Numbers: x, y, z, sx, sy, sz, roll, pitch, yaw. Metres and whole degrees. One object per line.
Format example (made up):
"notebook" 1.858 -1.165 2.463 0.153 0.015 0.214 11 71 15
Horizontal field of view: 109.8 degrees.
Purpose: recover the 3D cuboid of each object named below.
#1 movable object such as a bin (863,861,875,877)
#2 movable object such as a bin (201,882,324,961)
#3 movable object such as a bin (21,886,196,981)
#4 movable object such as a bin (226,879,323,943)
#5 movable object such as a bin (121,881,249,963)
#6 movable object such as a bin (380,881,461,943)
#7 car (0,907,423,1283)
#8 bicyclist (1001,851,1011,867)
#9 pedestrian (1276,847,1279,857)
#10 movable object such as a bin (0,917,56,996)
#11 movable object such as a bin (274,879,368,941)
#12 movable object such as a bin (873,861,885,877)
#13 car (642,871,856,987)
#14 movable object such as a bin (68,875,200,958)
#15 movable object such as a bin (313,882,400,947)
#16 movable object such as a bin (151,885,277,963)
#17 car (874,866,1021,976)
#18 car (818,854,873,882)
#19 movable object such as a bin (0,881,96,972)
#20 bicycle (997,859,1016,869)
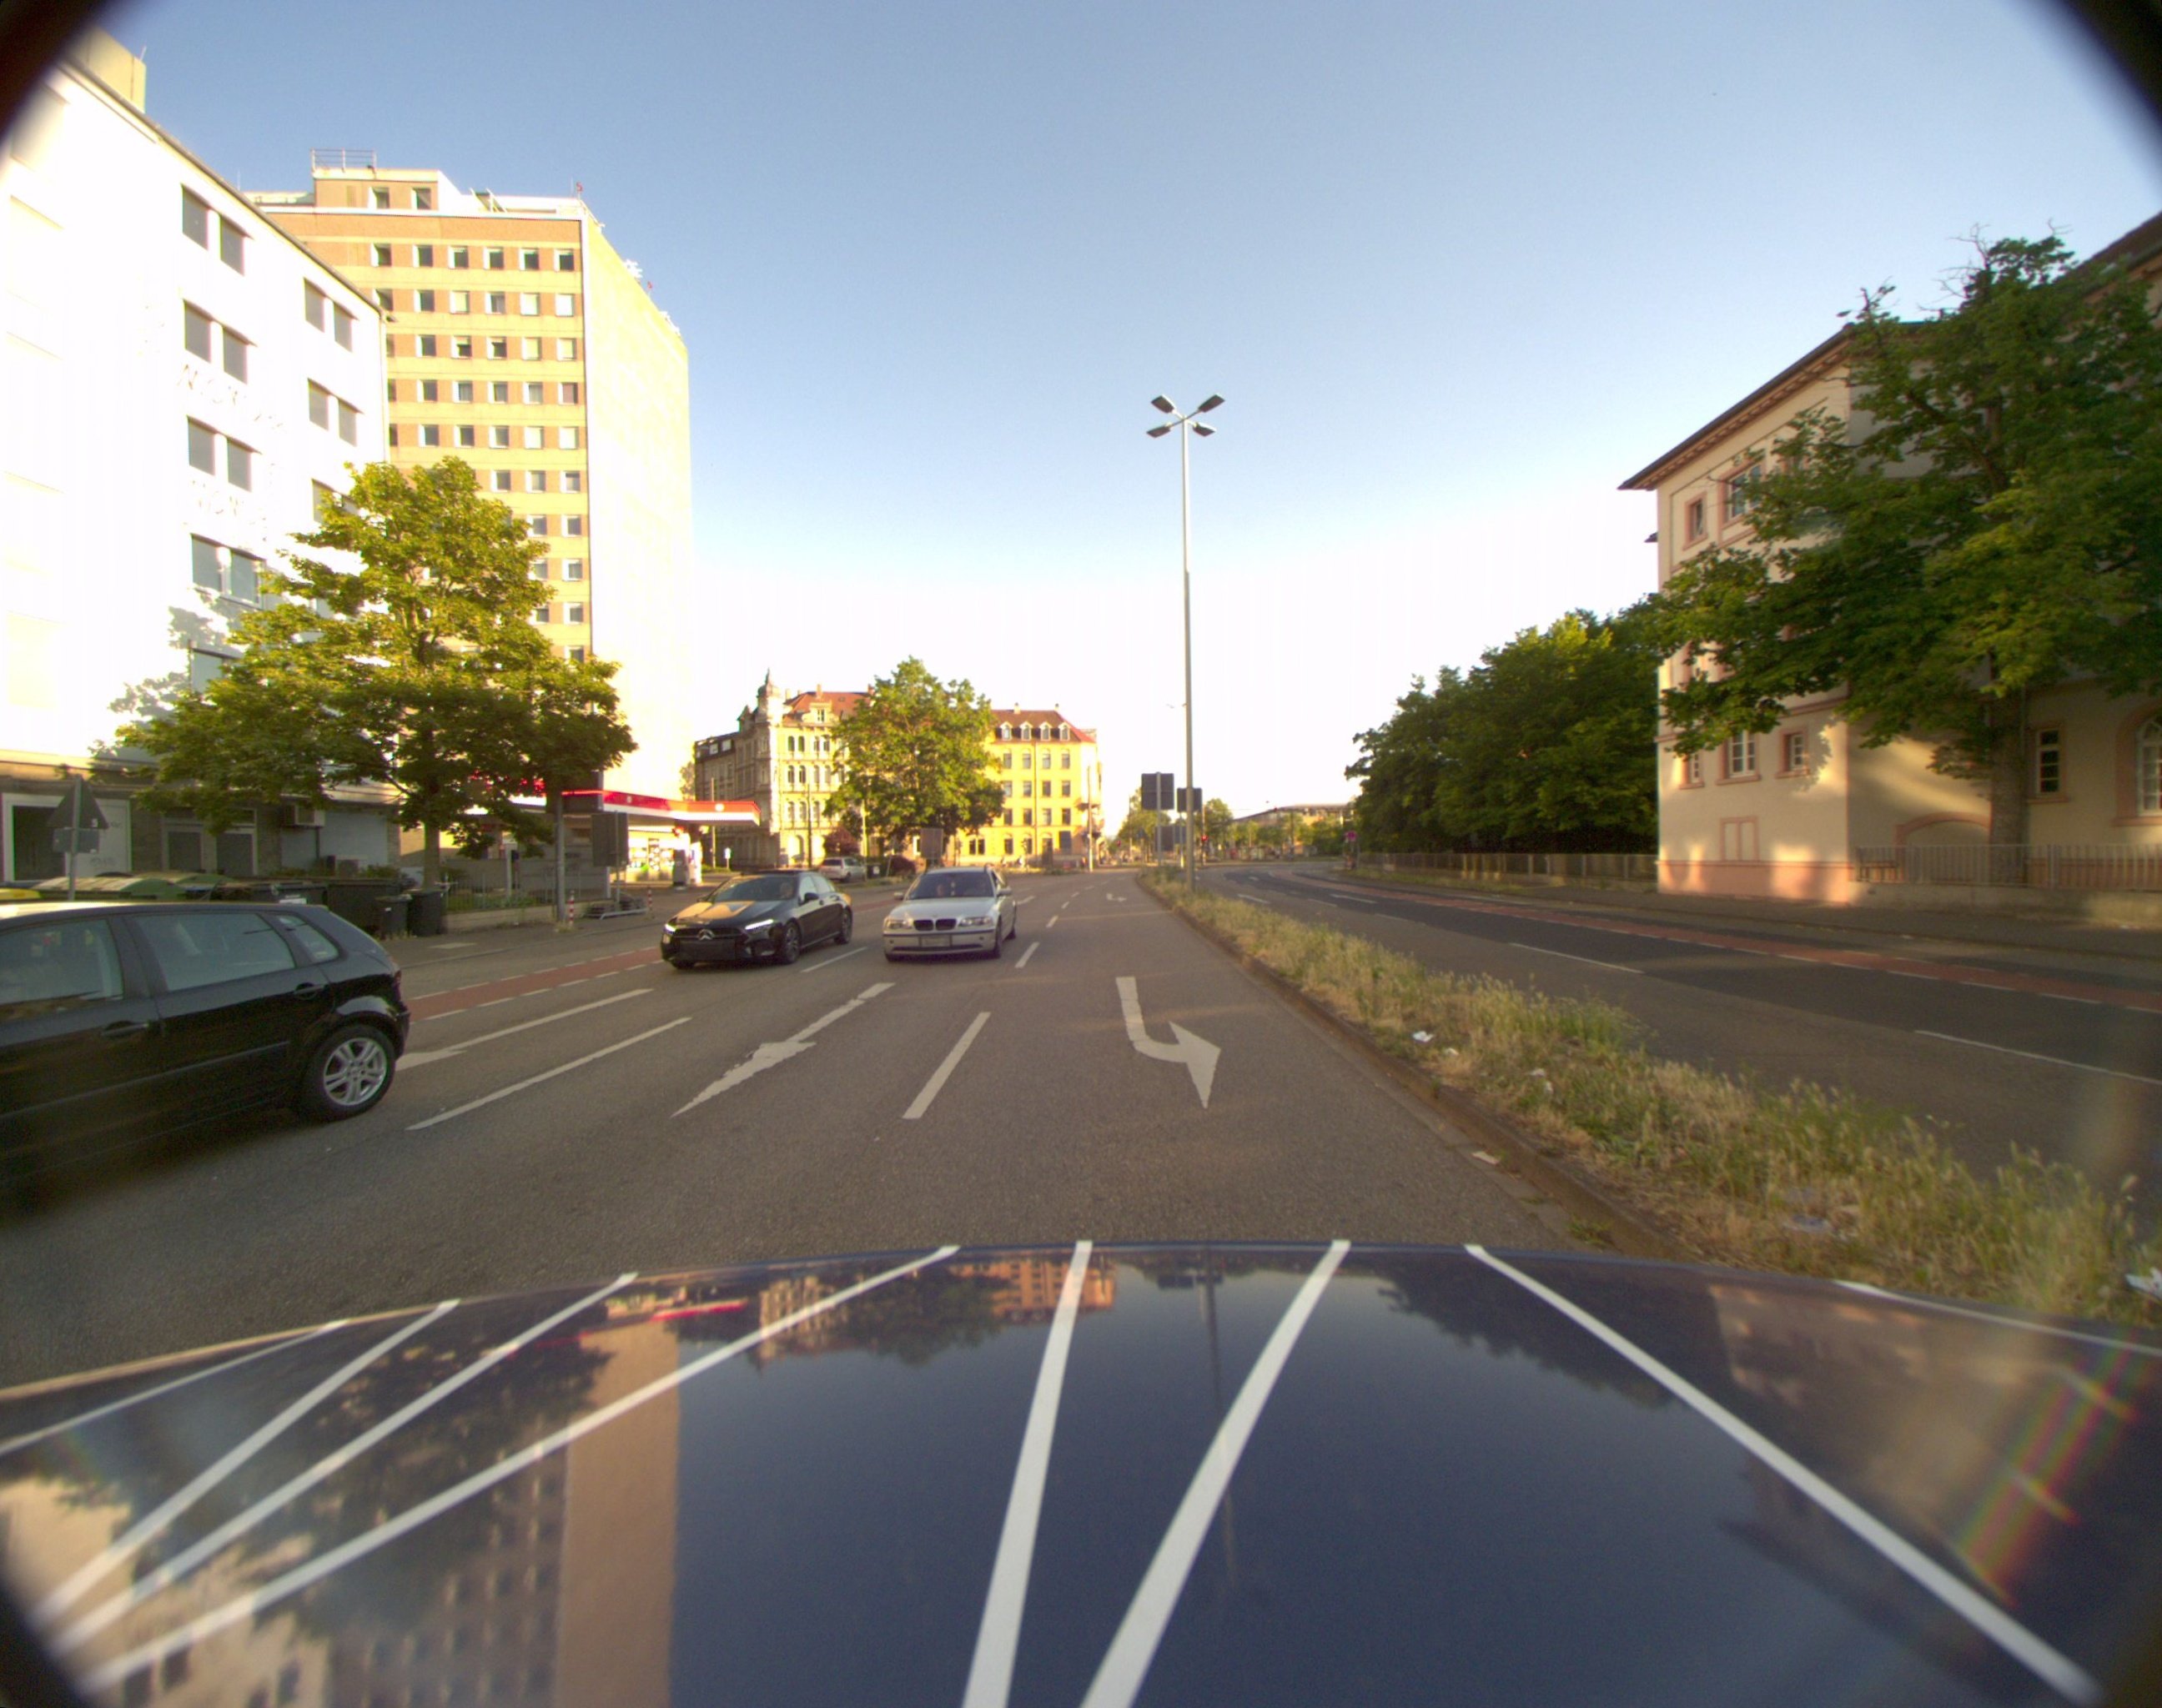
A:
"movable object such as a bin" -13.873 0.996 49.774 0.544 1.013 0.688 -1 1 5
"movable object such as a bin" -14.922 1.197 13.901 0.956 1.320 1.162 -1 1 -2
"movable object such as a bin" -15.879 1.265 12.463 1.351 1.415 1.105 -1 1 -4
"movable object such as a bin" -17.934 1.249 16.925 0.956 1.320 1.098 -1 1 -2
"movable object such as a bin" -17.127 1.276 14.573 1.034 1.440 1.162 -1 1 -2
"movable object such as a bin" -14.884 1.286 17.145 0.956 1.320 0.953 -1 1 -2
"car" -5.393 1.124 3.320 1.584 1.441 3.872 -2 0 1
"bicyclist" -7.687 0.494 77.929 1.065 1.639 0.732 -1 1 -7
"pedestrian" 33.596 -0.378 129.741 0.467 1.695 0.419 -1 1 1
"movable object such as a bin" -15.517 1.461 10.755 0.853 1.039 0.819 -1 1 -4
"movable object such as a bin" -16.936 1.236 16.969 0.956 1.276 1.098 -1 1 -2
"movable object such as a bin" -13.153 0.956 49.563 0.544 1.013 0.688 -1 1 5
"car" -5.196 1.084 12.561 1.731 1.441 4.045 -2 0 0
"movable object such as a bin" -18.303 1.176 14.726 1.034 1.490 1.162 -1 1 -2
"movable object such as a bin" -15.849 1.313 16.655 0.956 1.320 0.953 -1 1 -2
"movable object such as a bin" -16.043 1.272 14.104 0.956 1.320 1.162 -1 1 -2
"car" -2.058 0.976 12.950 1.675 1.410 4.440 -2 0 0
"car" -13.959 0.826 45.285 1.688 1.508 3.798 -1 1 8
"movable object such as a bin" -18.694 1.260 13.414 1.034 1.490 1.162 -1 1 -2
"bicycle" -7.647 1.011 77.875 1.927 1.053 0.451 -1 1 -7
